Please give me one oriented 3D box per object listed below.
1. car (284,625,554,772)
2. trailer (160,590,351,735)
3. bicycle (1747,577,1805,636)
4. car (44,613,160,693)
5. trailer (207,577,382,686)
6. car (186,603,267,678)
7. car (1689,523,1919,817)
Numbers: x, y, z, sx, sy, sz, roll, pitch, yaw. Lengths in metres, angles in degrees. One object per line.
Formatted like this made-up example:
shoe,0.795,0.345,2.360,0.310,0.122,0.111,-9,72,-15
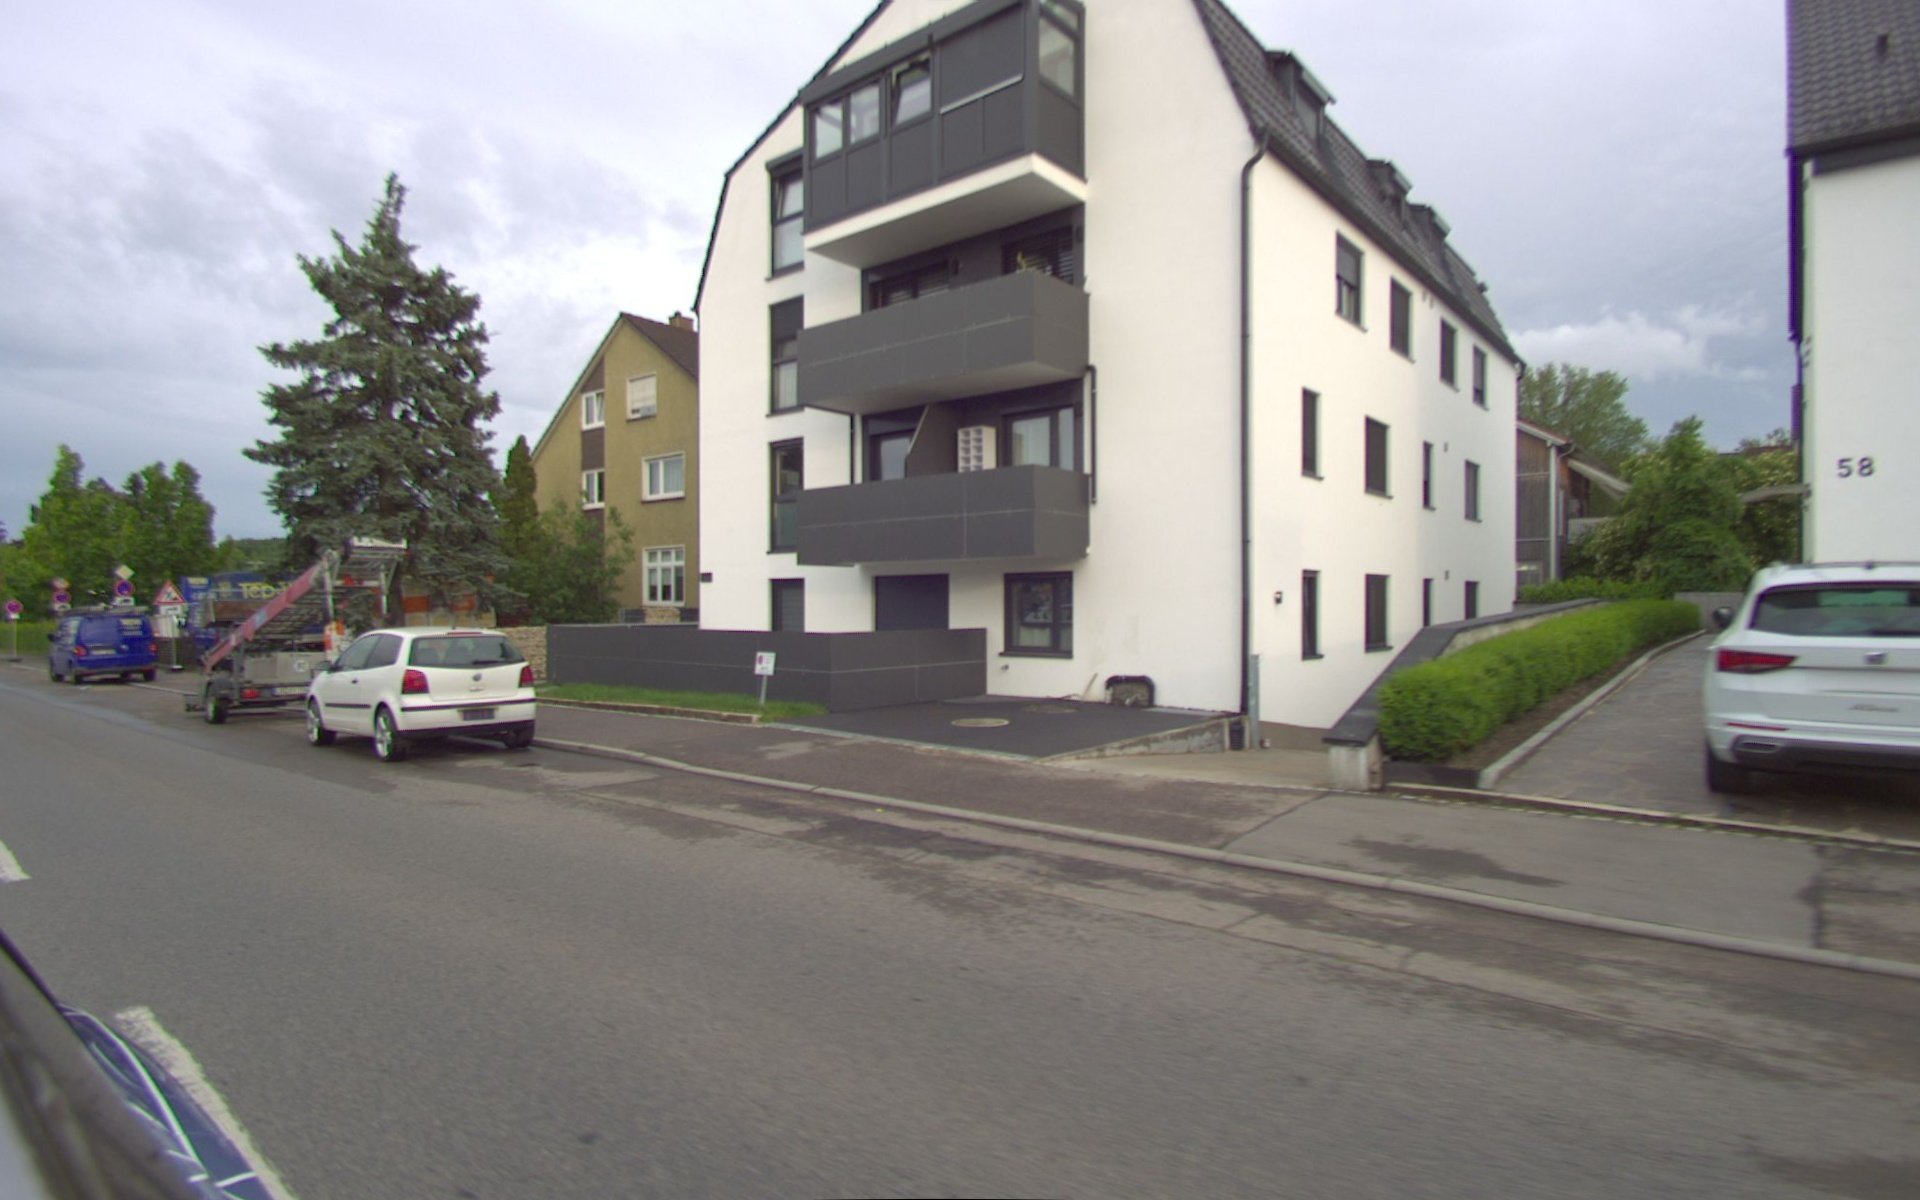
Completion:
car,-6.778,1.099,12.531,3.869,1.516,1.718,-2,-2,41
trailer,-11.851,0.945,16.928,4.005,2.142,1.699,-1,0,41
bicycle,19.103,0.137,23.664,2.849,1.308,0.608,-1,-1,-42
car,-24.966,1.488,29.386,4.753,2.140,1.972,-2,-2,42
trailer,-20.227,0.884,30.860,2.167,3.069,4.007,-1,0,41
car,-25.235,1.376,34.766,3.593,2.425,1.549,-2,-2,42
car,6.760,0.312,7.472,1.998,1.659,3.949,-2,3,39
